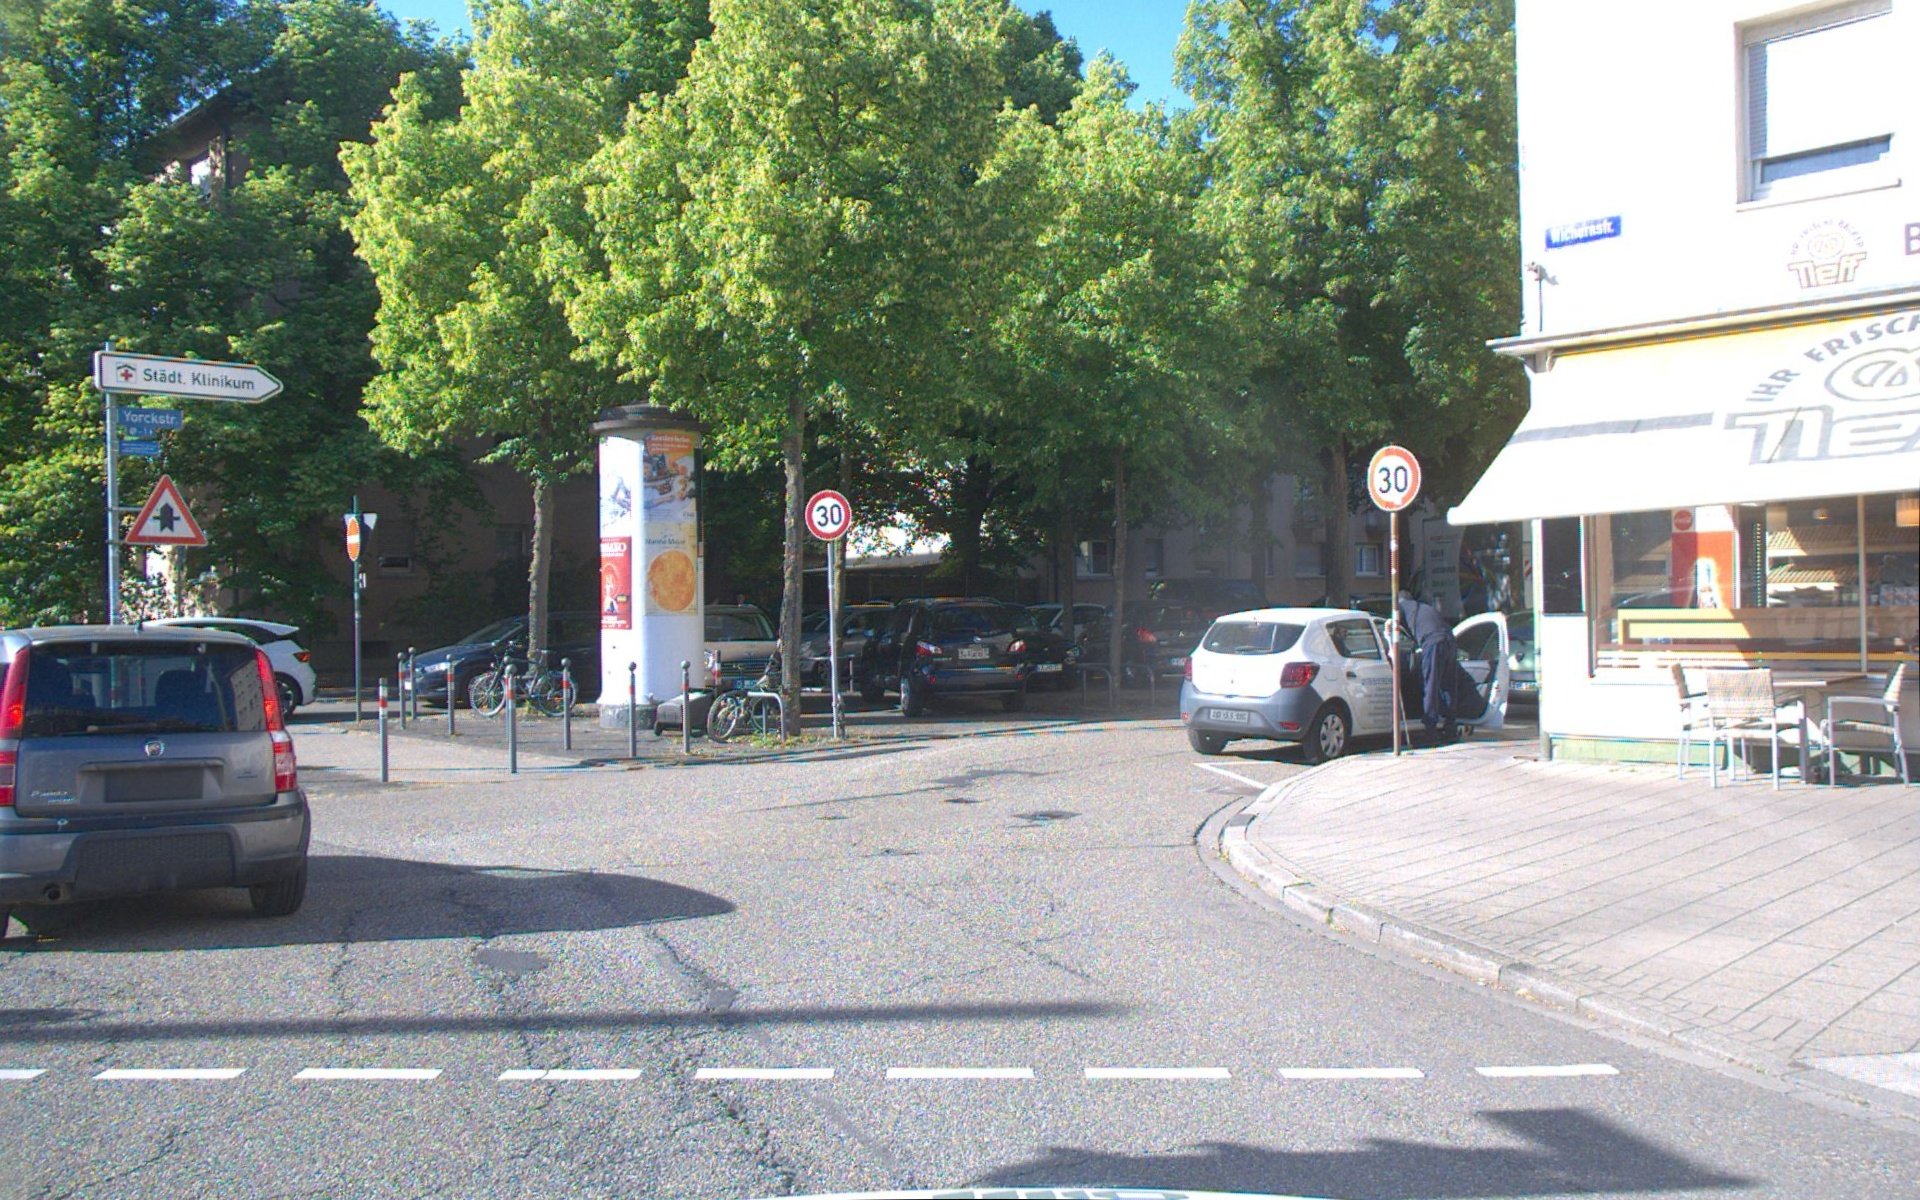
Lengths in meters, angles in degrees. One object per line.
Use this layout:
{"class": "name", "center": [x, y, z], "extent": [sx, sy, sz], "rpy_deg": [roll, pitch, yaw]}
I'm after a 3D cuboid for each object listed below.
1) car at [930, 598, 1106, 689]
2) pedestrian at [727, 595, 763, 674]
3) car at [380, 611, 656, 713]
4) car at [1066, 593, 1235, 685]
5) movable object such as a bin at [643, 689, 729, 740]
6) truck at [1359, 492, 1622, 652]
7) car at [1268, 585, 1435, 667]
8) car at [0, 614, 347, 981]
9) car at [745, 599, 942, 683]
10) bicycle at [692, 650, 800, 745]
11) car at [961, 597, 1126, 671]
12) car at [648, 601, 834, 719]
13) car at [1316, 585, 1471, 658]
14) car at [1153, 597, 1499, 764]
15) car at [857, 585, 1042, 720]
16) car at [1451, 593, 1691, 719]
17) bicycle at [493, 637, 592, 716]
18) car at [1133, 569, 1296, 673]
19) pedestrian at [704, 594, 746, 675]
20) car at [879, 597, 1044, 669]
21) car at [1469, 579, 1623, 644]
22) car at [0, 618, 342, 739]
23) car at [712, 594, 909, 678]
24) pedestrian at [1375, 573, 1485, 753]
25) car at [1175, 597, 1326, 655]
{"class": "car", "center": [0.944, 0.721, 29.188], "extent": [1.789, 1.447, 3.926], "rpy_deg": [-1, 0, -20]}
{"class": "pedestrian", "center": [-4.850, 0.771, 37.319], "extent": [0.727, 1.766, 0.538], "rpy_deg": [-1, 0, -11]}
{"class": "car", "center": [-7.609, 1.023, 28.726], "extent": [4.268, 1.545, 1.878], "rpy_deg": [-1, 0, -44]}
{"class": "car", "center": [3.348, 0.666, 29.768], "extent": [1.727, 1.507, 3.808], "rpy_deg": [-1, 0, -15]}
{"class": "movable object such as a bin", "center": [-3.546, 1.473, 21.481], "extent": [0.564, 0.575, 1.113], "rpy_deg": [-1, 0, 25]}
{"class": "truck", "center": [12.190, -0.572, 38.838], "extent": [2.495, 3.351, 7.302], "rpy_deg": [-1, 0, -12]}
{"class": "car", "center": [7.956, 0.493, 34.049], "extent": [1.775, 1.533, 4.333], "rpy_deg": [-1, 0, -10]}
{"class": "car", "center": [-4.695, 0.907, 9.082], "extent": [1.605, 1.589, 3.213], "rpy_deg": [-1, 0, -38]}
{"class": "car", "center": [-2.262, 0.770, 33.017], "extent": [1.726, 1.512, 3.930], "rpy_deg": [-1, 0, 39]}
{"class": "bicycle", "center": [-2.653, 1.195, 20.613], "extent": [0.346, 1.091, 1.587], "rpy_deg": [-1, 0, 35]}
{"class": "car", "center": [1.913, 0.721, 37.103], "extent": [1.726, 1.512, 3.930], "rpy_deg": [-1, 0, 39]}
{"class": "car", "center": [-3.502, 0.887, 25.842], "extent": [1.890, 1.639, 3.972], "rpy_deg": [-1, 0, -23]}
{"class": "car", "center": [9.807, 0.454, 37.763], "extent": [1.775, 1.533, 4.333], "rpy_deg": [-1, 0, -10]}
{"class": "car", "center": [4.016, 0.777, 17.791], "extent": [3.992, 1.523, 1.697], "rpy_deg": [-1, 0, -44]}
{"class": "car", "center": [-0.260, 0.692, 24.778], "extent": [1.800, 1.700, 4.321], "rpy_deg": [-1, 2, -14]}
{"class": "car", "center": [8.202, 0.693, 22.083], "extent": [3.644, 1.489, 1.576], "rpy_deg": [-1, 0, -44]}
{"class": "bicycle", "center": [-6.228, 1.129, 24.735], "extent": [0.346, 1.091, 1.587], "rpy_deg": [-1, 0, 35]}
{"class": "car", "center": [5.034, 0.389, 33.415], "extent": [1.894, 1.906, 4.492], "rpy_deg": [-1, 0, -10]}
{"class": "pedestrian", "center": [-5.171, 0.751, 36.413], "extent": [0.729, 1.766, 0.536], "rpy_deg": [-1, 0, 42]}
{"class": "car", "center": [0.073, 0.766, 40.198], "extent": [3.919, 1.597, 1.731], "rpy_deg": [-1, 0, -44]}
{"class": "car", "center": [14.671, 0.272, 41.639], "extent": [1.810, 1.529, 3.987], "rpy_deg": [-1, 0, -12]}
{"class": "car", "center": [-12.081, 1.108, 24.741], "extent": [4.986, 1.545, 1.897], "rpy_deg": [-1, 0, -38]}
{"class": "car", "center": [-3.226, 0.749, 36.343], "extent": [1.729, 1.669, 4.218], "rpy_deg": [-1, 0, 44]}
{"class": "pedestrian", "center": [4.736, 0.616, 16.681], "extent": [0.738, 1.752, 0.751], "rpy_deg": [-1, 0, -38]}
{"class": "car", "center": [7.536, 0.658, 42.612], "extent": [1.738, 1.317, 4.387], "rpy_deg": [-4, -2, 42]}
